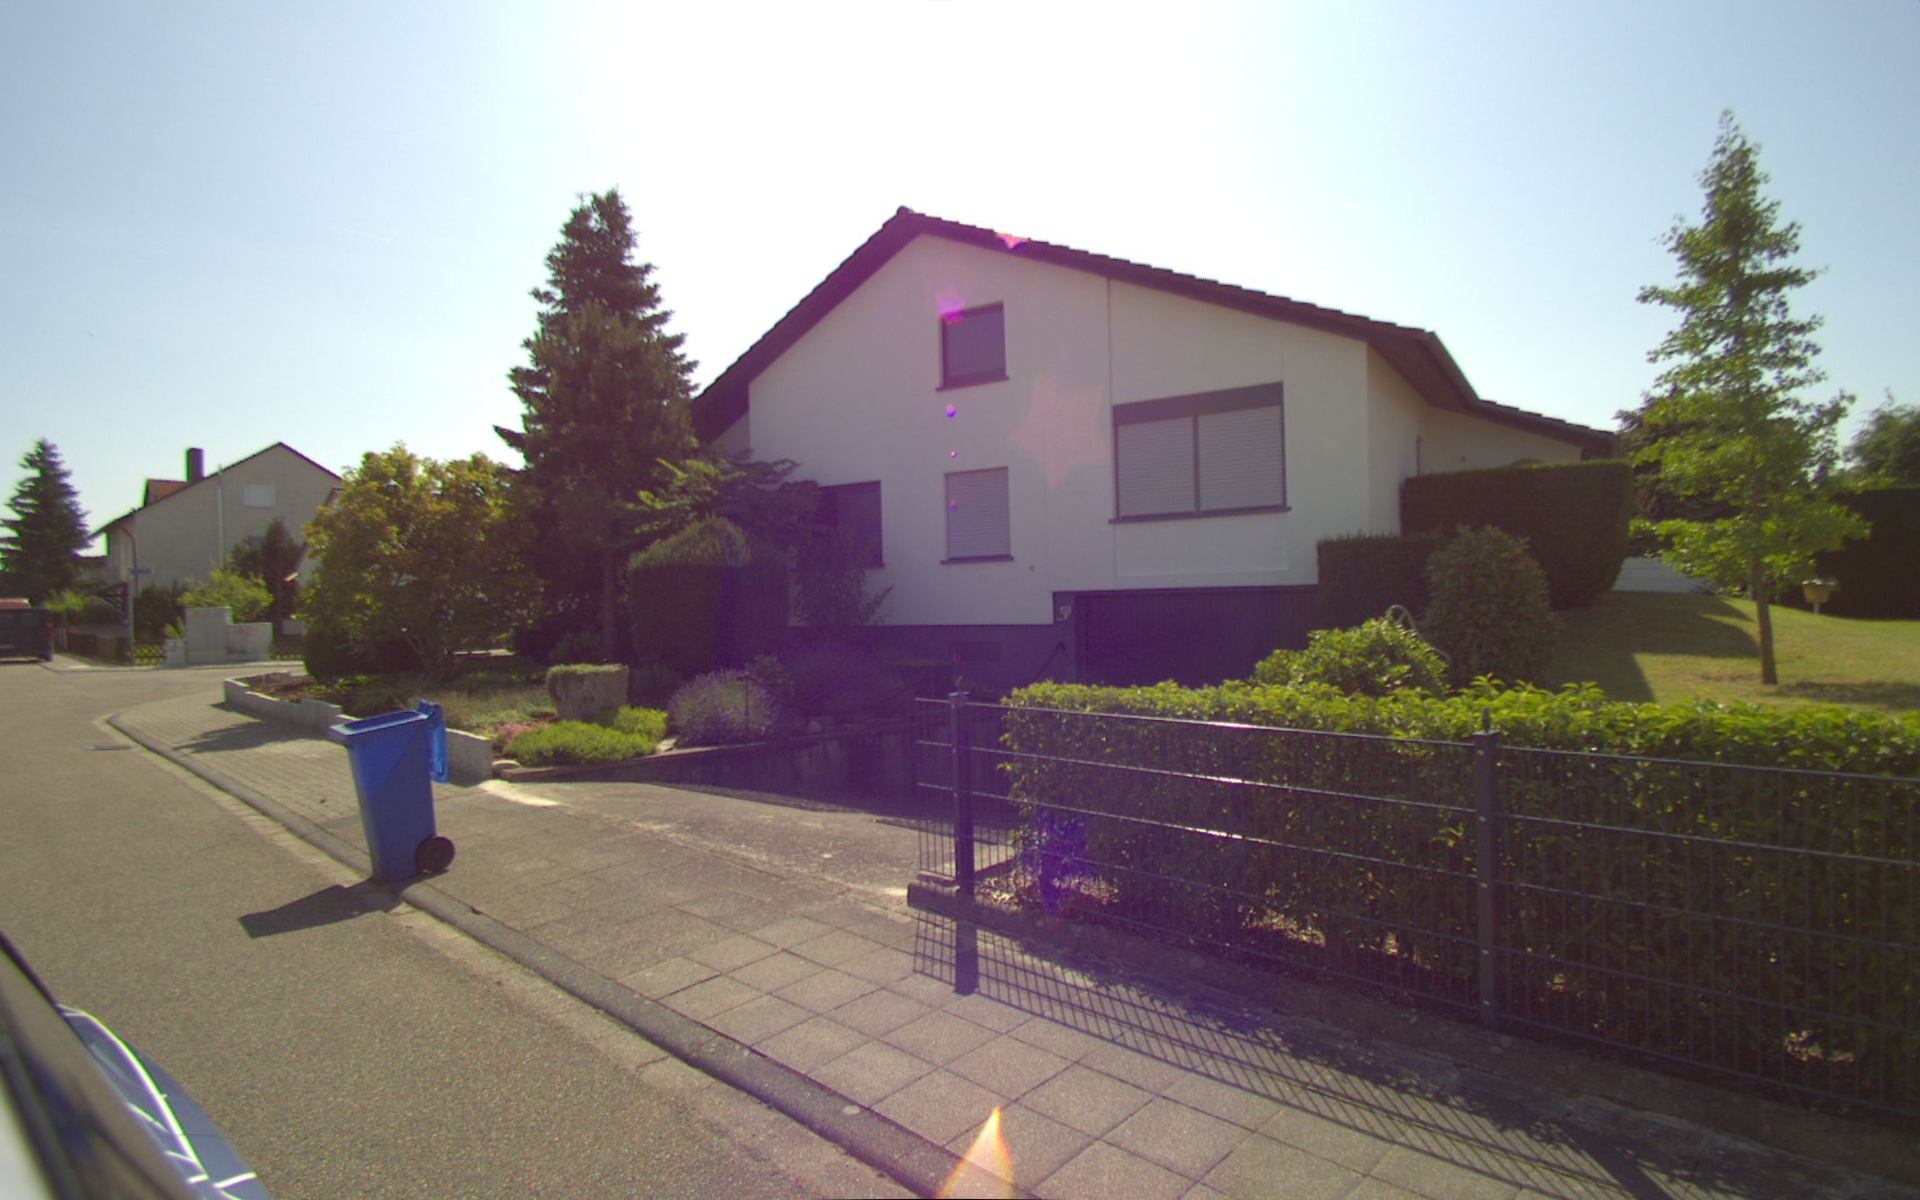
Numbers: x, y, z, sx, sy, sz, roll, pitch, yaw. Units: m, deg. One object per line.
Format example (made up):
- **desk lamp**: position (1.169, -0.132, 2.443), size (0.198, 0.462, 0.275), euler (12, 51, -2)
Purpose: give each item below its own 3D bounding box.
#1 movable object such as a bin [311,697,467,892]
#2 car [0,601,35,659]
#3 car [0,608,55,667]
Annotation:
- **movable object such as a bin**: position (-3.175, 1.042, 5.632), size (0.598, 0.923, 0.576), euler (-2, 1, 43)
- **car**: position (-40.534, 1.259, 42.943), size (4.205, 2.341, 1.534), euler (-2, 0, 44)
- **car**: position (-33.902, 1.341, 36.258), size (4.205, 1.953, 1.845), euler (-2, 0, 44)
